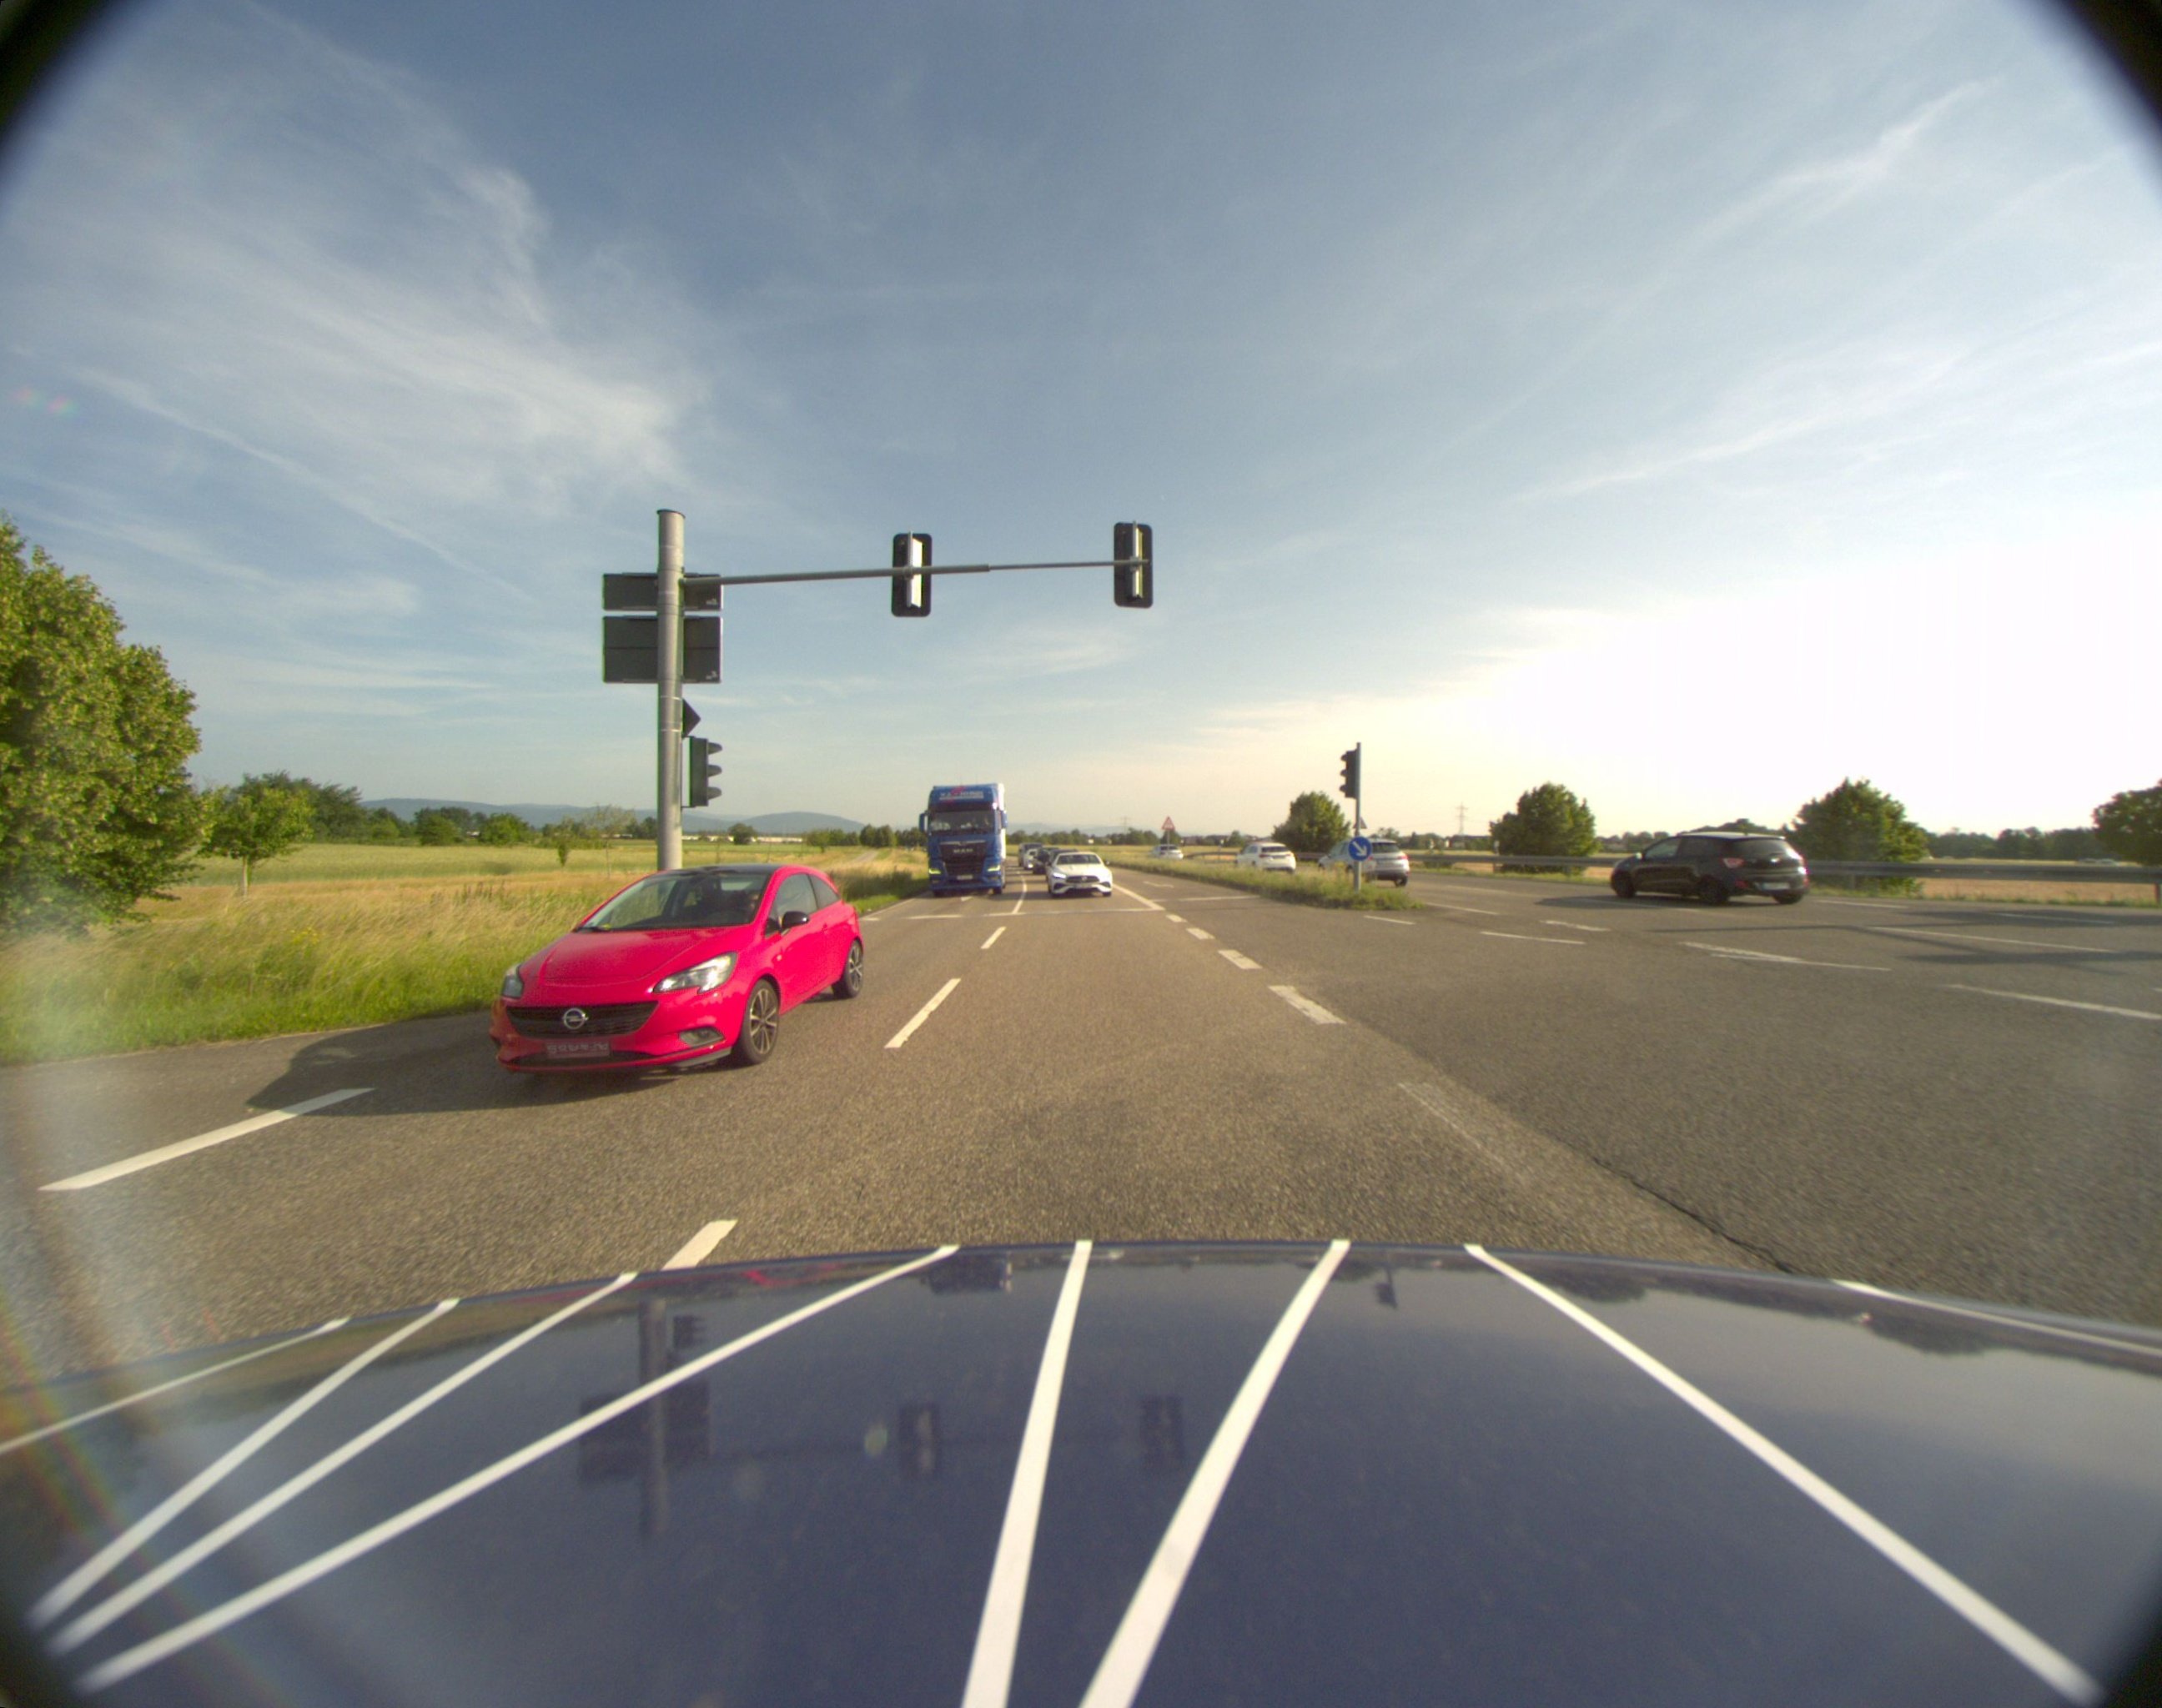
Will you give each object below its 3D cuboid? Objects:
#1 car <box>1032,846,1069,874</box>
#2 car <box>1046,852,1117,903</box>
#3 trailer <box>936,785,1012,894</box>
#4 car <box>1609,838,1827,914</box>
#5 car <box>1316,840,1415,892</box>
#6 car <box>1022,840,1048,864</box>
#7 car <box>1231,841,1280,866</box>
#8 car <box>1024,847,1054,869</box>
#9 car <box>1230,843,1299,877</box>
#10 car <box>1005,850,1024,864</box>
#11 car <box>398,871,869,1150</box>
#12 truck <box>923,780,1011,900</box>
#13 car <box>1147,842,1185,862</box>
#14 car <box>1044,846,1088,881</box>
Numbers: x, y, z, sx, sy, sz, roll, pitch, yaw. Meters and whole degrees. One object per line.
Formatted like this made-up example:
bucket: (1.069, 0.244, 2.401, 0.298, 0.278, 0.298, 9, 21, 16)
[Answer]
car: (-1.793, 0.290, 44.020, 1.832, 1.521, 3.997, -1, 1, -7)
car: (-0.066, 0.658, 23.891, 1.876, 1.390, 4.202, -1, 1, -5)
trailer: (-4.636, -0.641, 35.178, 2.652, 3.956, 13.921, -2, 1, -6)
car: (13.312, 0.388, 16.179, 1.690, 1.404, 3.520, -1, 1, 0)
car: (9.117, 0.319, 24.705, 1.690, 1.514, 4.091, -1, 1, 0)
car: (-3.767, -0.194, 61.572, 1.832, 1.831, 3.996, -1, 1, -8)
car: (10.771, -0.037, 47.157, 1.665, 1.458, 4.019, -1, 1, -6)
car: (-2.920, 0.240, 52.501, 1.695, 1.406, 3.996, -1, 1, -9)
car: (8.428, 0.235, 35.293, 1.735, 1.405, 4.392, -1, 1, -5)
car: (-7.997, 0.320, 91.097, 2.000, 1.525, 3.996, -1, 1, -10)
car: (-3.176, 0.964, 6.454, 1.665, 1.456, 3.953, -1, 1, -1)
truck: (-4.032, -0.504, 28.147, 2.652, 3.897, 5.947, -2, 1, -4)
car: (6.364, -0.184, 57.449, 1.932, 1.427, 4.698, -1, 1, -5)
car: (-0.762, 0.392, 35.797, 1.752, 1.521, 3.997, -1, 1, -5)
